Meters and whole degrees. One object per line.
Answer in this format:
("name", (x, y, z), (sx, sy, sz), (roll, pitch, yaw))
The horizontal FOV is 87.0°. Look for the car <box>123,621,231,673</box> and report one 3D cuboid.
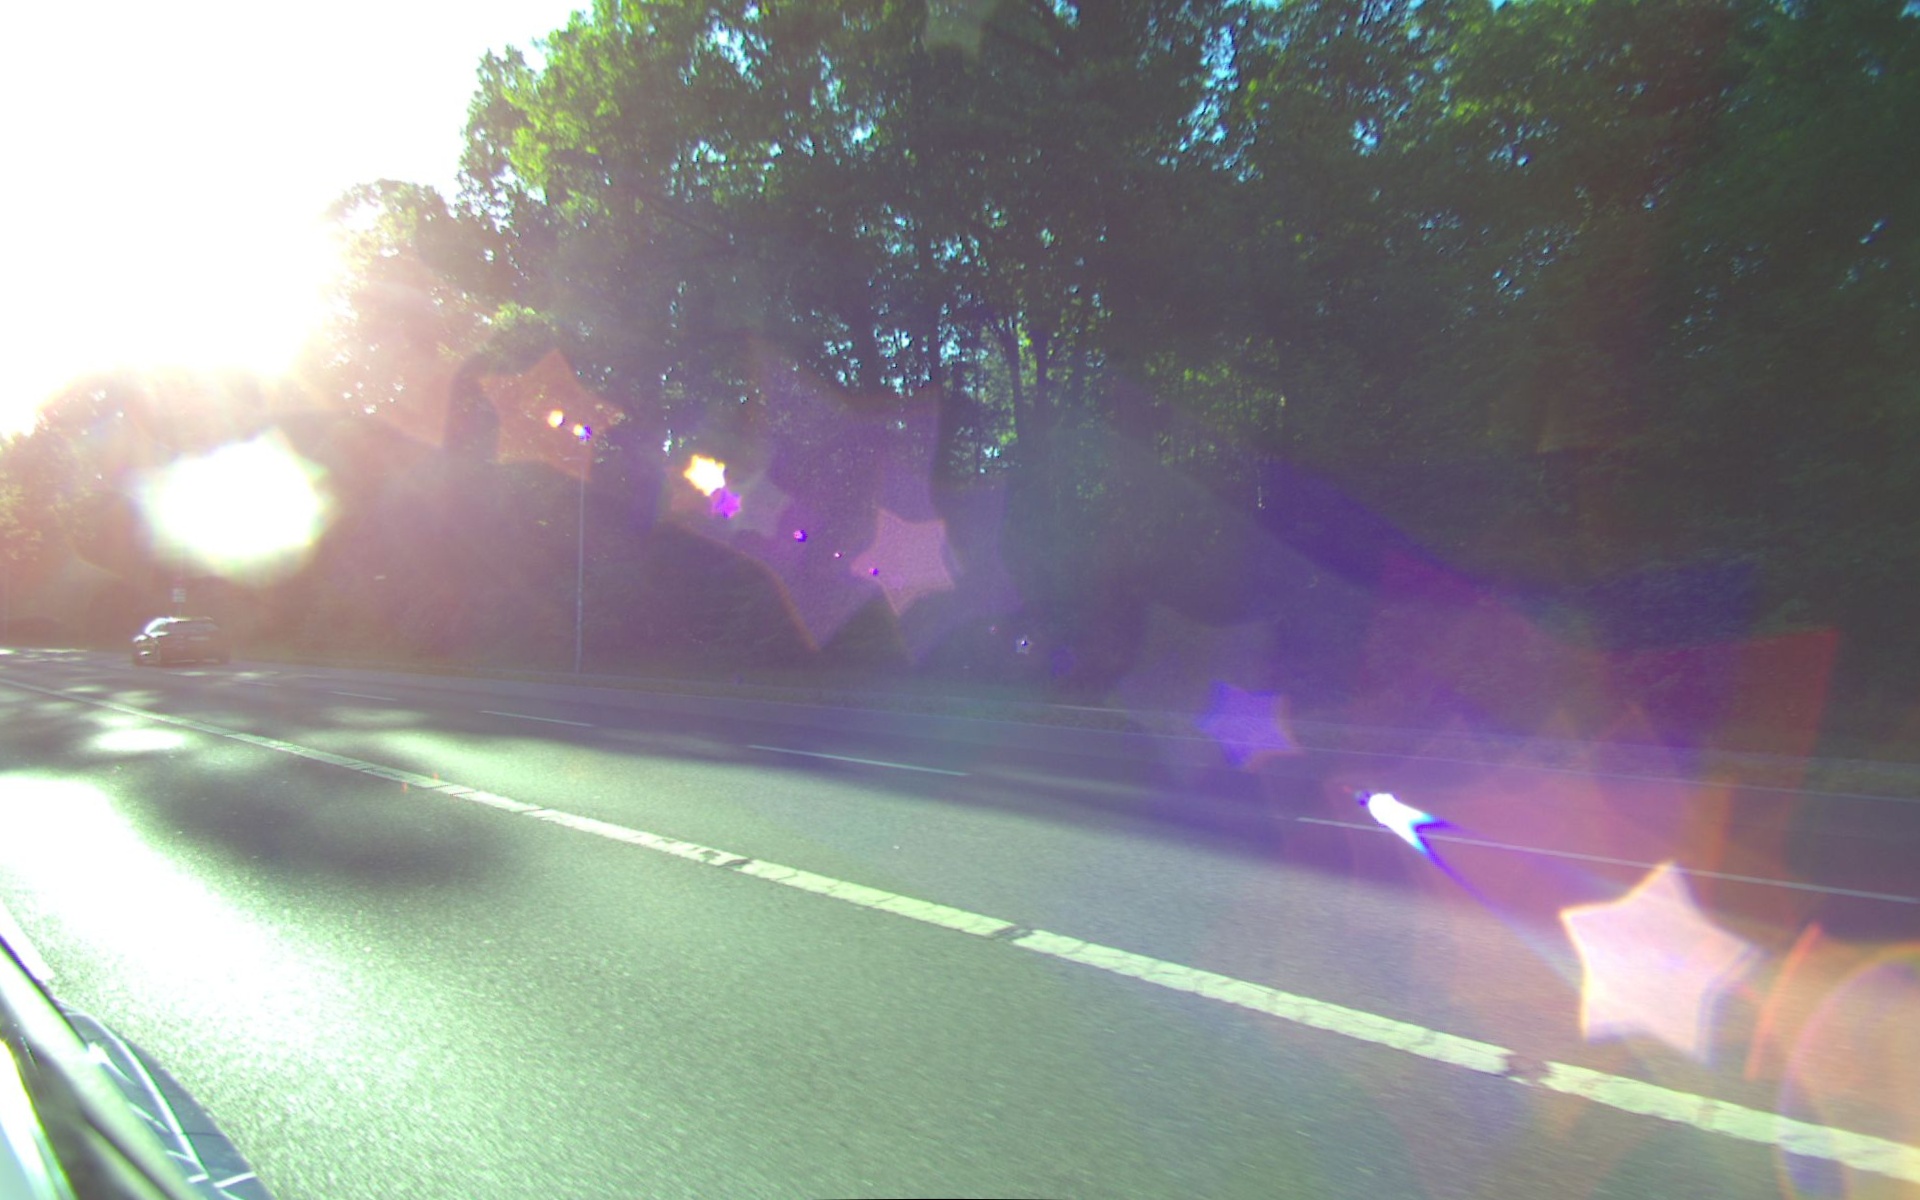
("car", (-23.478, 1.362, 30.294), (4.126, 1.434, 1.693), (-2, -1, 39))
